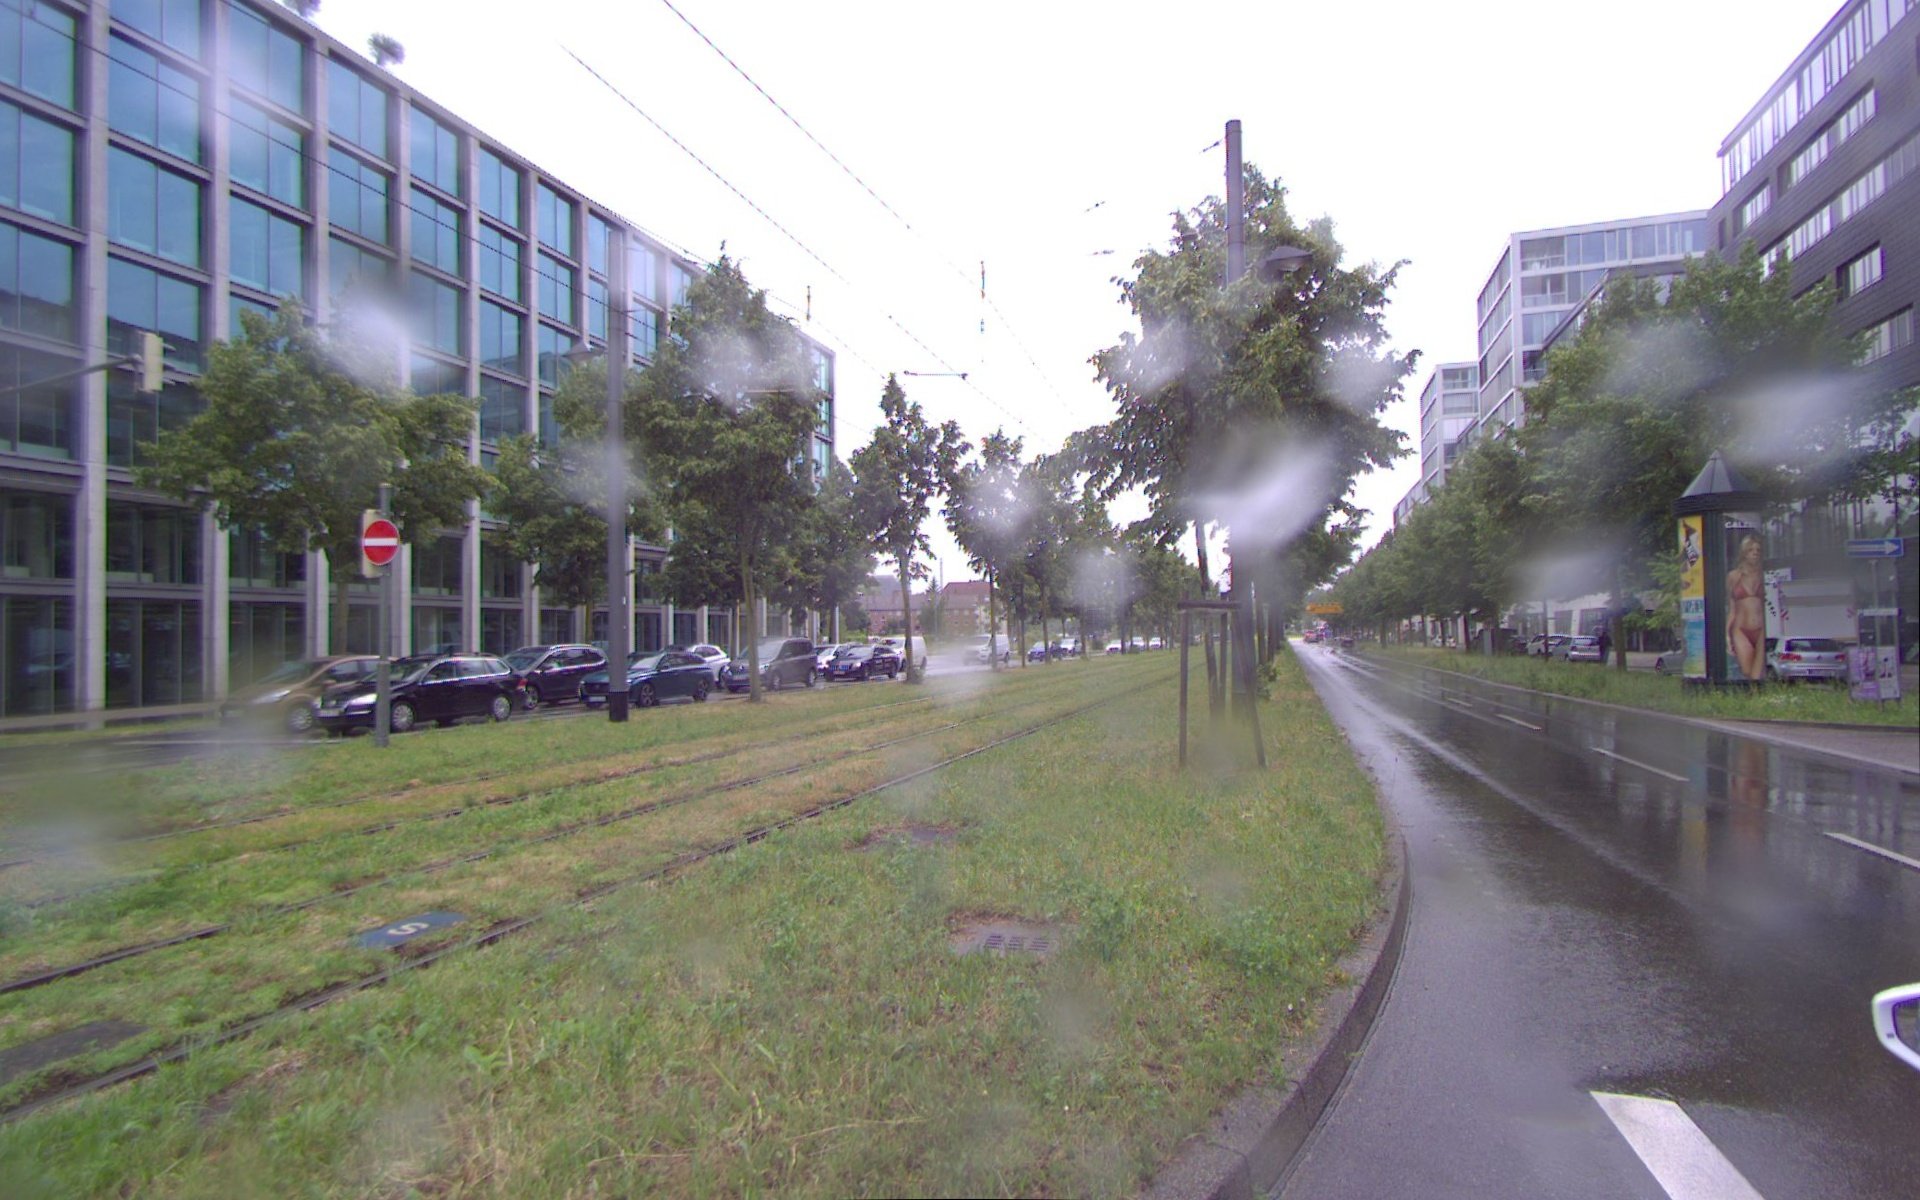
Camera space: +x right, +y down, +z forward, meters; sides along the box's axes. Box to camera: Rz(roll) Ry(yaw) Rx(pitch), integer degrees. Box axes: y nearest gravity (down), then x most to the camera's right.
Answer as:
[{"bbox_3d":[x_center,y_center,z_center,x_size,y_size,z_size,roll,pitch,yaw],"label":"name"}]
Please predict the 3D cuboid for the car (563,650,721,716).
[{"bbox_3d":[-8.527,2.193,27.406,1.918,1.404,4.474,-2,0,16],"label":"car"}]

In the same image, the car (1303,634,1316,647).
[{"bbox_3d":[62.369,7.264,179.259,1.961,2.040,3.999,-1,0,20],"label":"car"}]

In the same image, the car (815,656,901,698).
[{"bbox_3d":[-4.220,3.191,42.356,1.918,1.404,4.605,-1,0,17],"label":"car"}]

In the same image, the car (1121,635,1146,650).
[{"bbox_3d":[17.893,4.390,103.672,1.918,1.471,4.577,-1,-2,18],"label":"car"}]

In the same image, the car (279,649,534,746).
[{"bbox_3d":[-11.107,1.893,20.582,1.918,1.580,4.465,-1,-1,18],"label":"car"}]

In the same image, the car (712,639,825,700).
[{"bbox_3d":[-6.554,2.346,34.924,1.918,1.873,4.544,-1,-1,18],"label":"car"}]

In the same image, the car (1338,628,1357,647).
[{"bbox_3d":[46.678,4.530,120.951,1.908,2.040,4.000,-1,0,18],"label":"car"}]

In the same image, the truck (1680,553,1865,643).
[{"bbox_3d":[34.807,0.080,43.558,2.973,3.486,8.553,-1,-2,15],"label":"truck"}]

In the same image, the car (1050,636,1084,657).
[{"bbox_3d":[9.459,4.089,88.474,1.919,1.772,4.576,-1,-2,21],"label":"car"}]

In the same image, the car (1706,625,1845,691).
[{"bbox_3d":[23.241,1.609,28.815,1.731,1.618,4.100,-1,0,18],"label":"car"}]

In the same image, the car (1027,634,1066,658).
[{"bbox_3d":[6.275,3.284,72.272,1.918,1.514,3.962,-1,0,18],"label":"car"}]

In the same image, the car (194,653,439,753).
[{"bbox_3d":[-13.855,2.135,21.966,1.918,1.717,4.273,-1,0,17],"label":"car"}]

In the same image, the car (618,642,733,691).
[{"bbox_3d":[-9.928,2.300,35.401,1.918,1.404,4.273,-1,0,16],"label":"car"}]

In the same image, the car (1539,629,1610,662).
[{"bbox_3d":[30.090,2.195,49.311,1.740,1.471,4.726,0,-1,16],"label":"car"}]

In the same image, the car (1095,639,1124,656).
[{"bbox_3d":[14.146,4.487,94.762,1.918,1.533,4.577,-1,-2,18],"label":"car"}]

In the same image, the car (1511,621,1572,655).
[{"bbox_3d":[31.827,2.054,55.128,1.960,1.691,4.724,-1,0,18],"label":"car"}]

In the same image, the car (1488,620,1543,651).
[{"bbox_3d":[33.606,2.114,60.903,1.960,1.691,4.958,-1,0,18],"label":"car"}]

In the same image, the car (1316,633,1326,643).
[{"bbox_3d":[83.323,8.806,231.906,1.961,2.040,3.999,-1,0,20],"label":"car"}]

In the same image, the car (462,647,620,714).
[{"bbox_3d":[-11.920,2.241,28.914,1.918,1.560,4.273,-1,0,16],"label":"car"}]

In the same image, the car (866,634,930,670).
[{"bbox_3d":[-3.352,2.843,55.634,1.918,1.674,5.031,-1,0,16],"label":"car"}]

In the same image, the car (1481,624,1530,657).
[{"bbox_3d":[36.451,2.652,67.267,1.960,1.978,5.029,-1,0,18],"label":"car"}]

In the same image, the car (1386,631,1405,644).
[{"bbox_3d":[58.229,4.940,134.280,1.850,1.526,4.724,-1,0,18],"label":"car"}]

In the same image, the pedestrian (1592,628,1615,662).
[{"bbox_3d":[28.796,2.018,44.965,0.686,1.513,0.644,-1,-2,16],"label":"pedestrian"}]

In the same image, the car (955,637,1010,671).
[{"bbox_3d":[1.586,3.673,69.604,2.231,2.033,5.372,-1,0,19],"label":"car"}]

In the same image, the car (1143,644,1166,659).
[{"bbox_3d":[23.495,6.205,121.196,1.919,1.480,4.829,-1,0,22],"label":"car"}]

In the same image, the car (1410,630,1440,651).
[{"bbox_3d":[42.199,3.647,91.265,1.960,1.691,4.724,-1,0,18],"label":"car"}]
